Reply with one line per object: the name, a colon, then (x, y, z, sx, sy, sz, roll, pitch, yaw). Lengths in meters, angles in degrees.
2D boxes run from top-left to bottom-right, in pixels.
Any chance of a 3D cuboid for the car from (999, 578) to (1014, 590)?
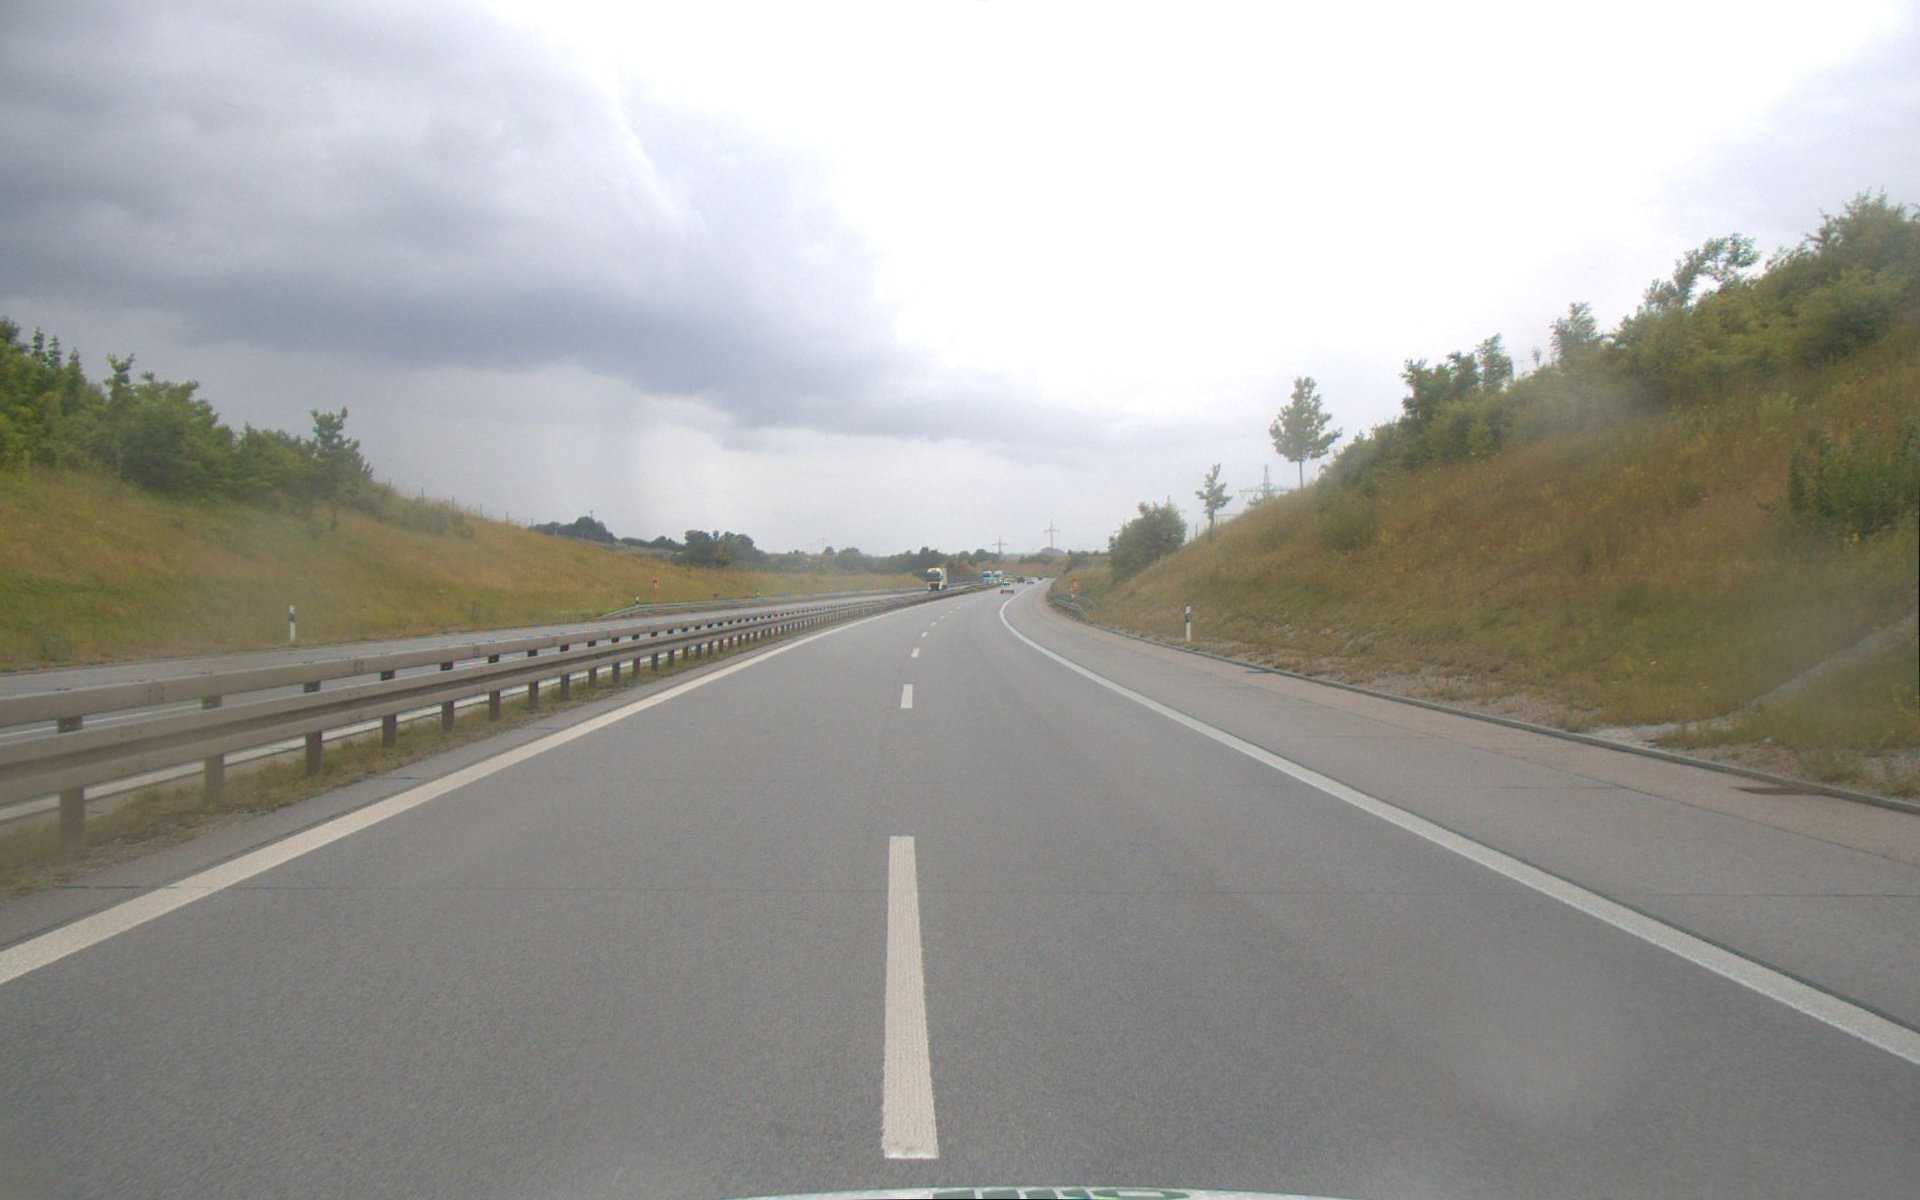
car: (6.804, -2.376, 240.844, 1.915, 1.680, 4.003, 0, 0, 6)
